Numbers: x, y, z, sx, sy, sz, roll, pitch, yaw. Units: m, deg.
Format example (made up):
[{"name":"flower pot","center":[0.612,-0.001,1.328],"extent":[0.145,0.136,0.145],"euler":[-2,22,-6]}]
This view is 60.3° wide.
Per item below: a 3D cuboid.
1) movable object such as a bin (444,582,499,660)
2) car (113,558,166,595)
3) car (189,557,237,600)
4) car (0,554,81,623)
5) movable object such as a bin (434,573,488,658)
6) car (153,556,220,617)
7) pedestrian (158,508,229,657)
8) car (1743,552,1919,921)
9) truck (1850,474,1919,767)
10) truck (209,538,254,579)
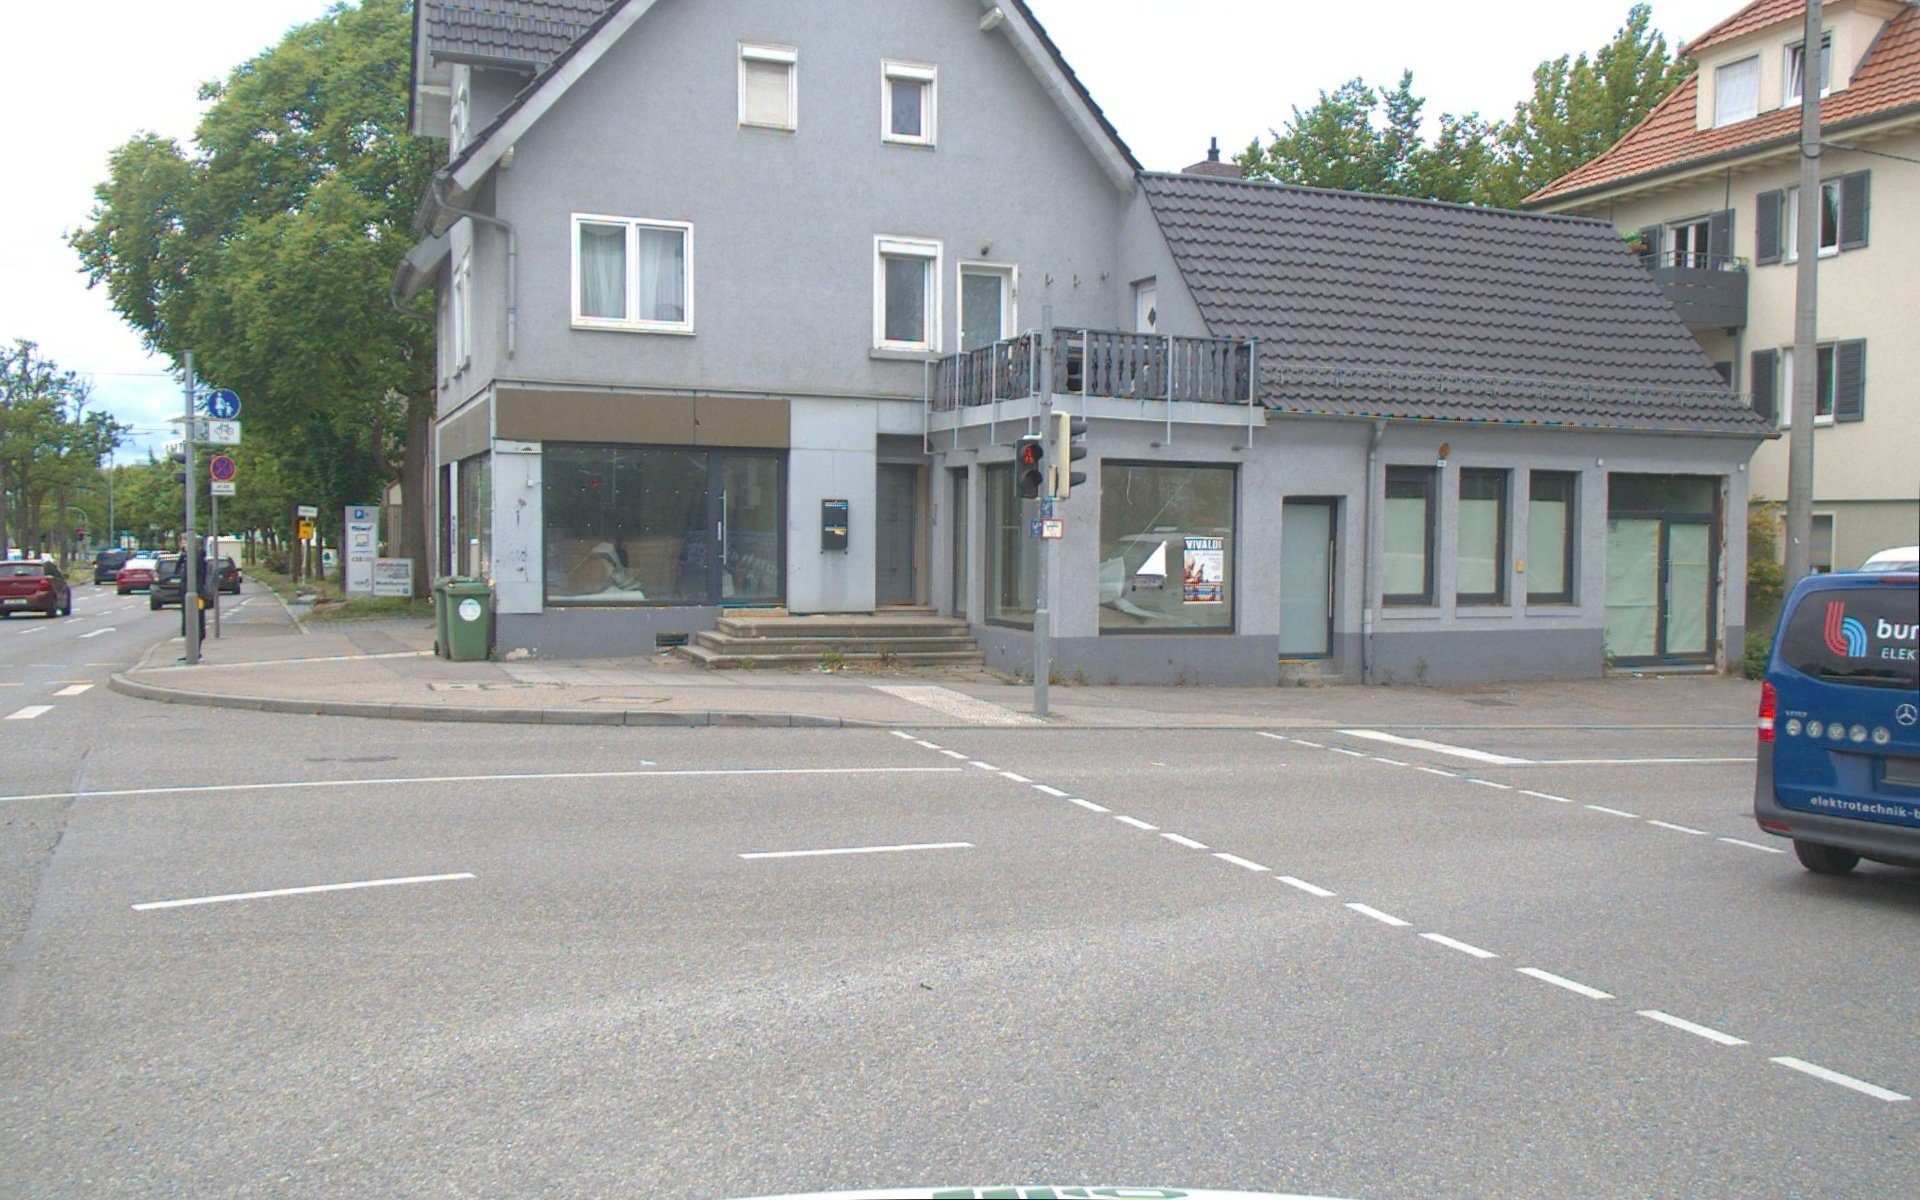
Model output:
[{"name":"movable object such as a bin","center":[-6.437,0.268,21.804],"extent":[0.590,1.004,0.568],"euler":[-1,1,-29]},{"name":"car","center":[-35.085,-0.971,70.679],"extent":[1.848,1.512,3.960],"euler":[-1,0,-29]},{"name":"car","center":[-30.889,-0.909,68.457],"extent":[1.723,1.753,3.972],"euler":[-1,1,-23]},{"name":"car","center":[-24.593,-0.344,43.911],"extent":[1.722,1.753,3.974],"euler":[-1,1,-21]},{"name":"movable object such as a bin","center":[-6.740,0.196,22.320],"extent":[0.590,1.120,0.568],"euler":[-1,1,-29]},{"name":"car","center":[-23.430,-0.447,50.163],"extent":[1.723,1.753,3.970],"euler":[-1,1,-24]},{"name":"pedestrian","center":[-10.734,-0.249,23.189],"extent":[0.759,2.049,0.873],"euler":[0,1,-17]},{"name":"car","center":[6.946,0.745,10.389],"extent":[4.497,2.000,1.927],"euler":[0,1,-39]},{"name":"truck","center":[11.993,0.281,16.415],"extent":[6.297,2.748,1.987],"euler":[2,0,-22]},{"name":"truck","center":[-41.822,-2.368,95.029],"extent":[1.965,2.203,5.525],"euler":[2,0,-21]}]
